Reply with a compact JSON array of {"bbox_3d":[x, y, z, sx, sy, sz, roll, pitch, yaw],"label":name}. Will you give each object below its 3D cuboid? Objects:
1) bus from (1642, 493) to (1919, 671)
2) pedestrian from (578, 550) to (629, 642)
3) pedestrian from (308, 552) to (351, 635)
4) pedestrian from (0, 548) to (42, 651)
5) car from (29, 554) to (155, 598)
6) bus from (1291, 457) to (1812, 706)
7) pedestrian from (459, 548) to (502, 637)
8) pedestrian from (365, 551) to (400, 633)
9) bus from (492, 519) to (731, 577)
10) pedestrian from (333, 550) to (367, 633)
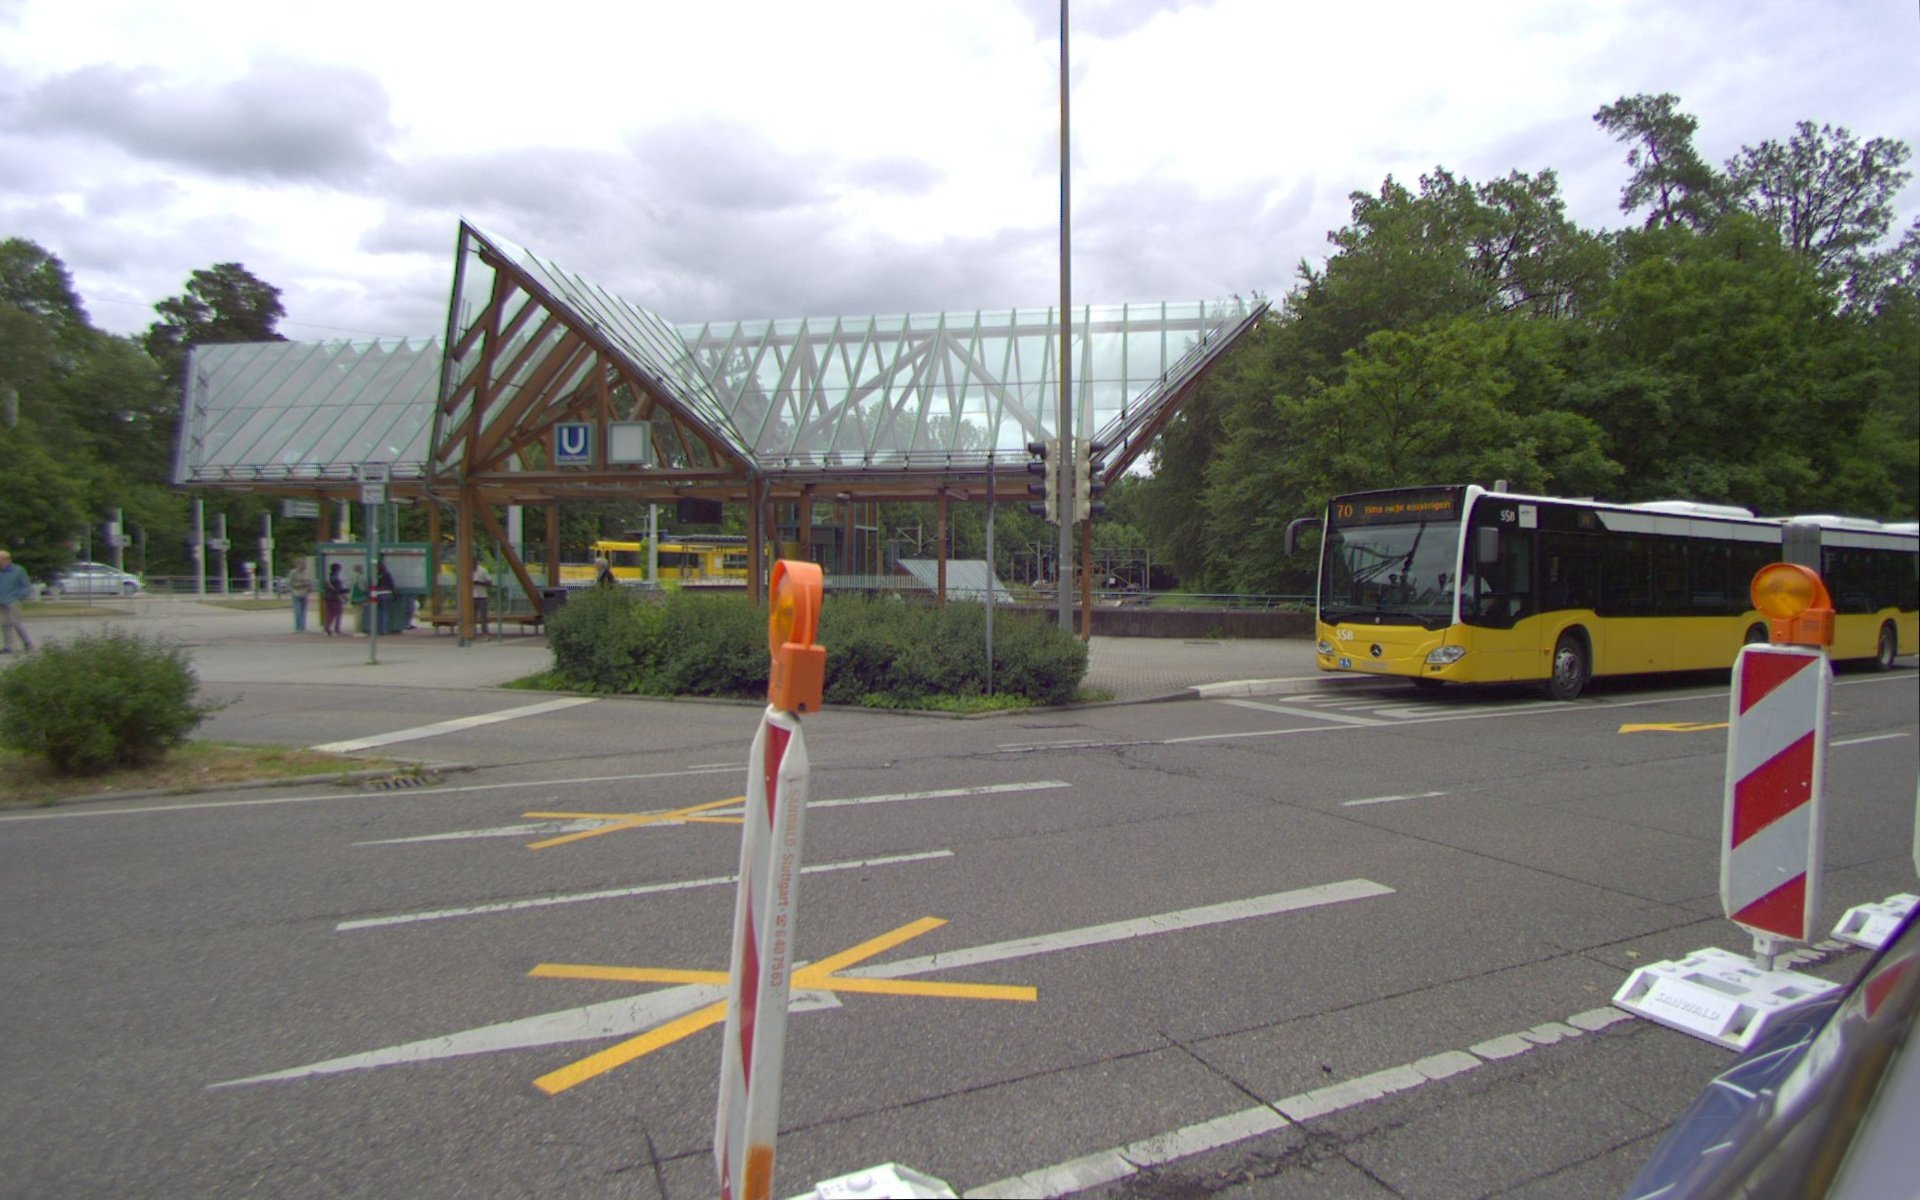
[{"bbox_3d":[17.947,-0.360,21.319,7.601,3.198,2.815,0,1,-29],"label":"bus"},{"bbox_3d":[-7.051,-0.084,20.026,0.661,1.779,0.651,-1,0,24],"label":"pedestrian"},{"bbox_3d":[-13.930,-0.148,22.364,0.559,1.779,0.658,-1,0,41],"label":"pedestrian"},{"bbox_3d":[-16.776,-0.008,17.770,0.721,1.779,0.670,-1,0,-13],"label":"pedestrian"},{"bbox_3d":[-42.094,-1.142,49.179,1.984,2.039,4.279,0,1,32],"label":"car"},{"bbox_3d":[10.201,-0.282,16.841,10.308,3.198,2.815,0,1,-31],"label":"bus"},{"bbox_3d":[-9.808,-0.151,20.722,0.642,1.779,0.669,-1,0,-11],"label":"pedestrian"},{"bbox_3d":[-12.706,-0.183,22.248,0.588,1.779,0.668,-1,0,-35],"label":"pedestrian"},{"bbox_3d":[-23.907,-3.400,71.921,3.941,3.527,18.400,0,1,28],"label":"bus"},{"bbox_3d":[-13.271,-0.193,22.013,0.588,1.779,0.668,-1,0,-35],"label":"pedestrian"}]
